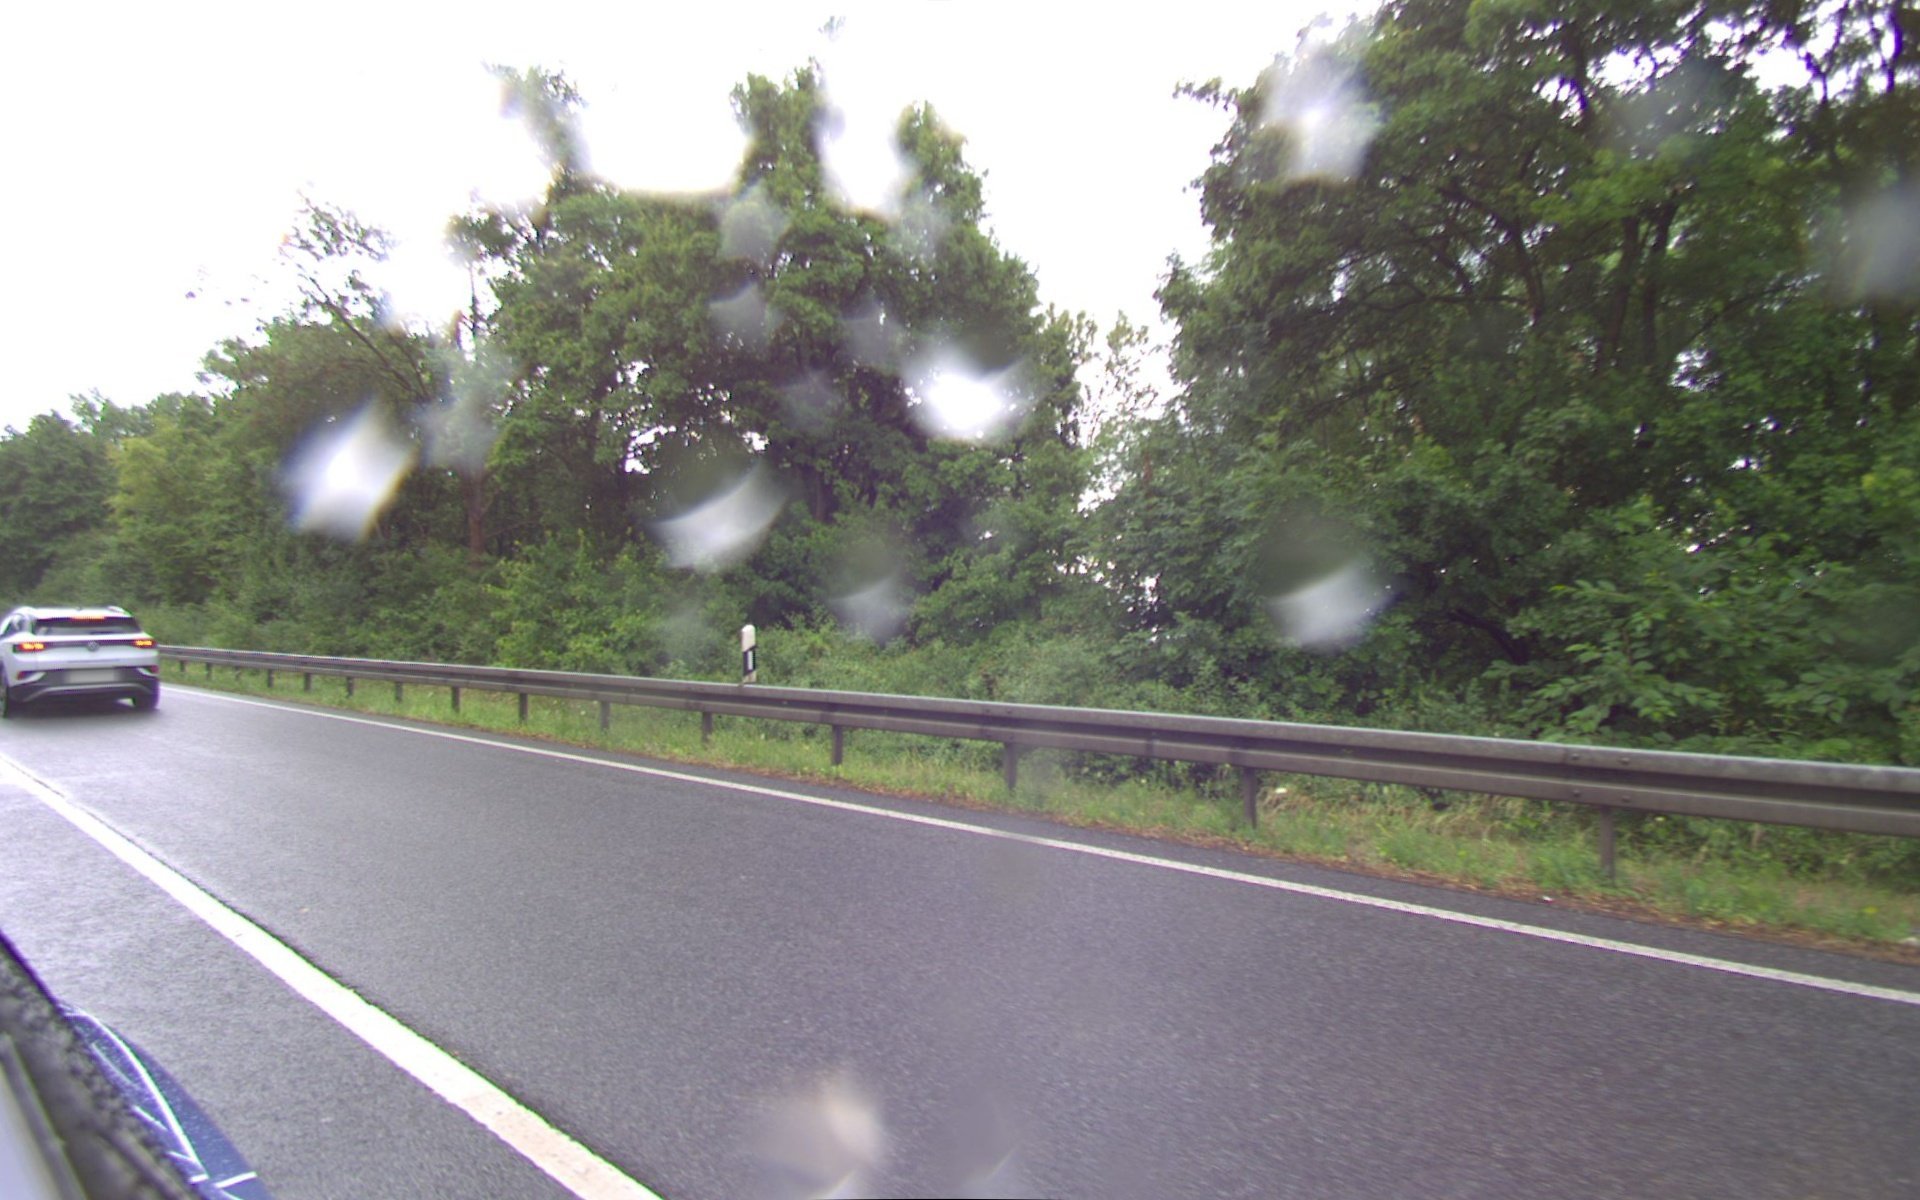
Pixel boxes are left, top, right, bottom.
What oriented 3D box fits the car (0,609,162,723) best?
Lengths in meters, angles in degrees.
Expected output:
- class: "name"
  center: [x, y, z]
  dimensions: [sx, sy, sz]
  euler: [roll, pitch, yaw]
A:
- class: "car"
  center: [-14.150, 0.939, 15.886]
  dimensions: [4.204, 1.544, 1.788]
  euler: [-1, -1, 41]
